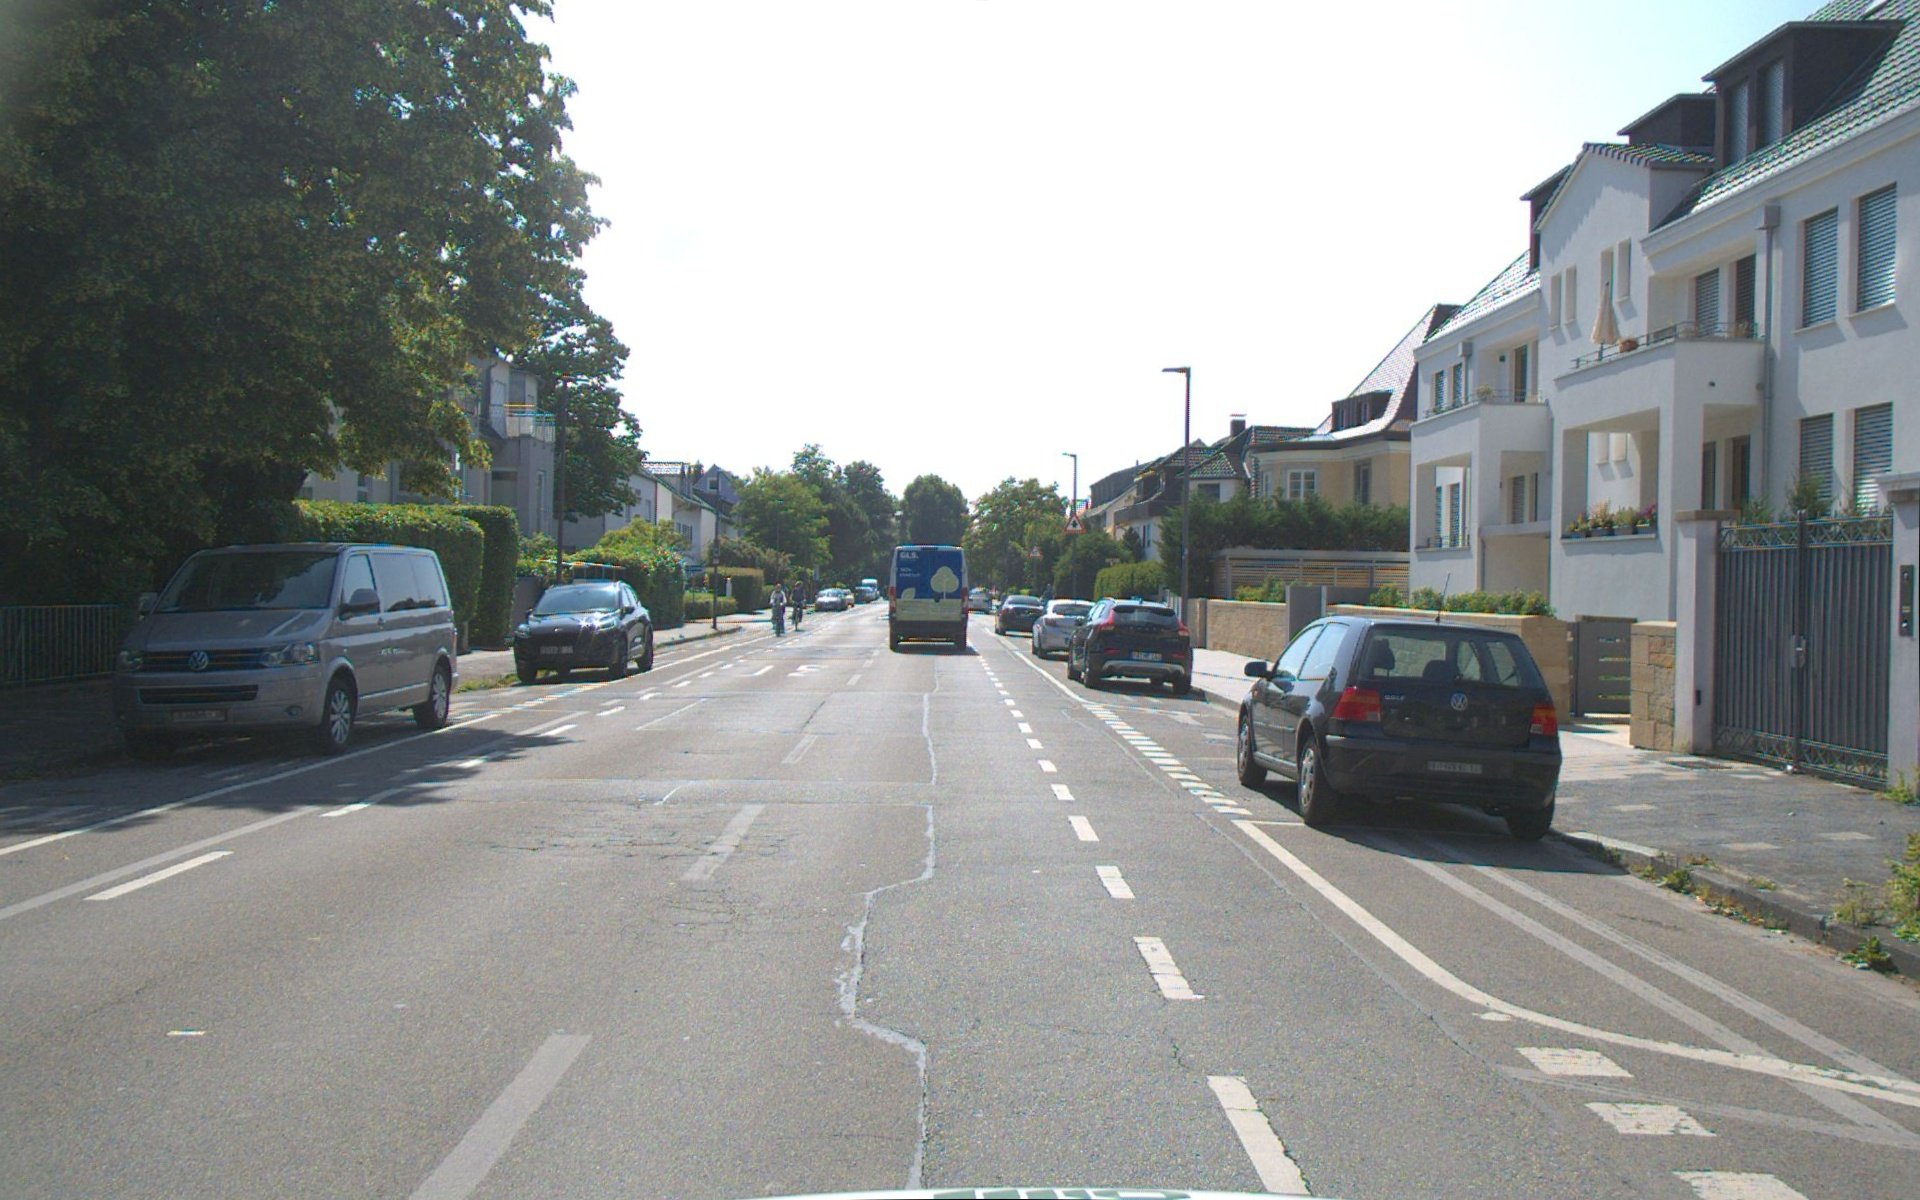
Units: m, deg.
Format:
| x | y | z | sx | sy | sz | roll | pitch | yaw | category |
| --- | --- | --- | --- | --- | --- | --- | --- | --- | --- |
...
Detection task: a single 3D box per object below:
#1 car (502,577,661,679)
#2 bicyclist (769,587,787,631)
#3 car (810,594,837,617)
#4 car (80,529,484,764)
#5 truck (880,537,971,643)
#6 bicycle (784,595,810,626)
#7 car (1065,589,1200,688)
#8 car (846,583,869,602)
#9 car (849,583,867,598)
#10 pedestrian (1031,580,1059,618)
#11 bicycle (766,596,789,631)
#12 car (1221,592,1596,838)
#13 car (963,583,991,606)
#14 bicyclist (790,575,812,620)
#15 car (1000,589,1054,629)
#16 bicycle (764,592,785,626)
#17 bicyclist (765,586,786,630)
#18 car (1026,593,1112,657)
| x | y | z | sx | sy | sz | roll | pitch | yaw | category |
| --- | --- | --- | --- | --- | --- | --- | --- | --- | --- |
| -6.653 | 0.453 | 29.569 | 1.813 | 1.639 | 4.447 | -1 | 0 | -1 | car |
| -6.119 | 0.297 | 55.596 | 0.480 | 1.479 | 0.964 | -1 | 0 | -1 | bicyclist |
| -9.125 | 0.358 | 111.091 | 1.750 | 1.465 | 4.151 | -1 | 1 | -4 | car |
| -6.431 | 0.378 | 16.411 | 1.846 | 1.953 | 4.869 | -1 | 0 | 2 | car |
| -0.955 | -0.249 | 43.376 | 2.227 | 2.616 | 4.390 | 1 | 0 | -2 | truck |
| -6.356 | 0.392 | 64.562 | 0.766 | 1.186 | 2.419 | -1 | 0 | -1 | bicycle |
| 2.897 | 0.607 | 28.561 | 1.687 | 1.474 | 4.167 | 4 | 0 | -2 | car |
| -8.317 | -0.623 | 134.595 | 1.749 | 1.465 | 3.999 | 0 | 1 | -2 | car |
| -10.351 | -0.962 | 168.771 | 1.745 | 1.485 | 4.084 | 0 | 1 | -2 | car |
| 4.276 | -0.047 | 83.308 | 0.891 | 1.905 | 1.175 | 1 | 0 | -34 | pedestrian |
| -6.122 | 0.448 | 55.553 | 0.588 | 1.124 | 1.346 | -1 | 0 | -1 | bicycle |
| 3.190 | 0.733 | 12.586 | 1.587 | 1.474 | 3.999 | 4 | 0 | -2 | car |
| 1.142 | -0.365 | 114.712 | 1.705 | 1.426 | 4.073 | 1 | 2 | -2 | car |
| -6.195 | -0.091 | 64.308 | 0.734 | 1.697 | 1.021 | -1 | 0 | -1 | bicyclist |
| 2.376 | 0.303 | 59.492 | 1.701 | 1.352 | 4.259 | 0 | 1 | -1 | car |
| -6.766 | 0.308 | 60.460 | 0.548 | 1.206 | 2.035 | -1 | 0 | -1 | bicycle |
| -6.746 | 0.288 | 60.491 | 0.662 | 1.608 | 0.859 | -1 | 0 | -1 | bicyclist |
| 2.604 | 0.603 | 40.289 | 1.701 | 1.352 | 4.075 | 4 | -1 | -1 | car |
